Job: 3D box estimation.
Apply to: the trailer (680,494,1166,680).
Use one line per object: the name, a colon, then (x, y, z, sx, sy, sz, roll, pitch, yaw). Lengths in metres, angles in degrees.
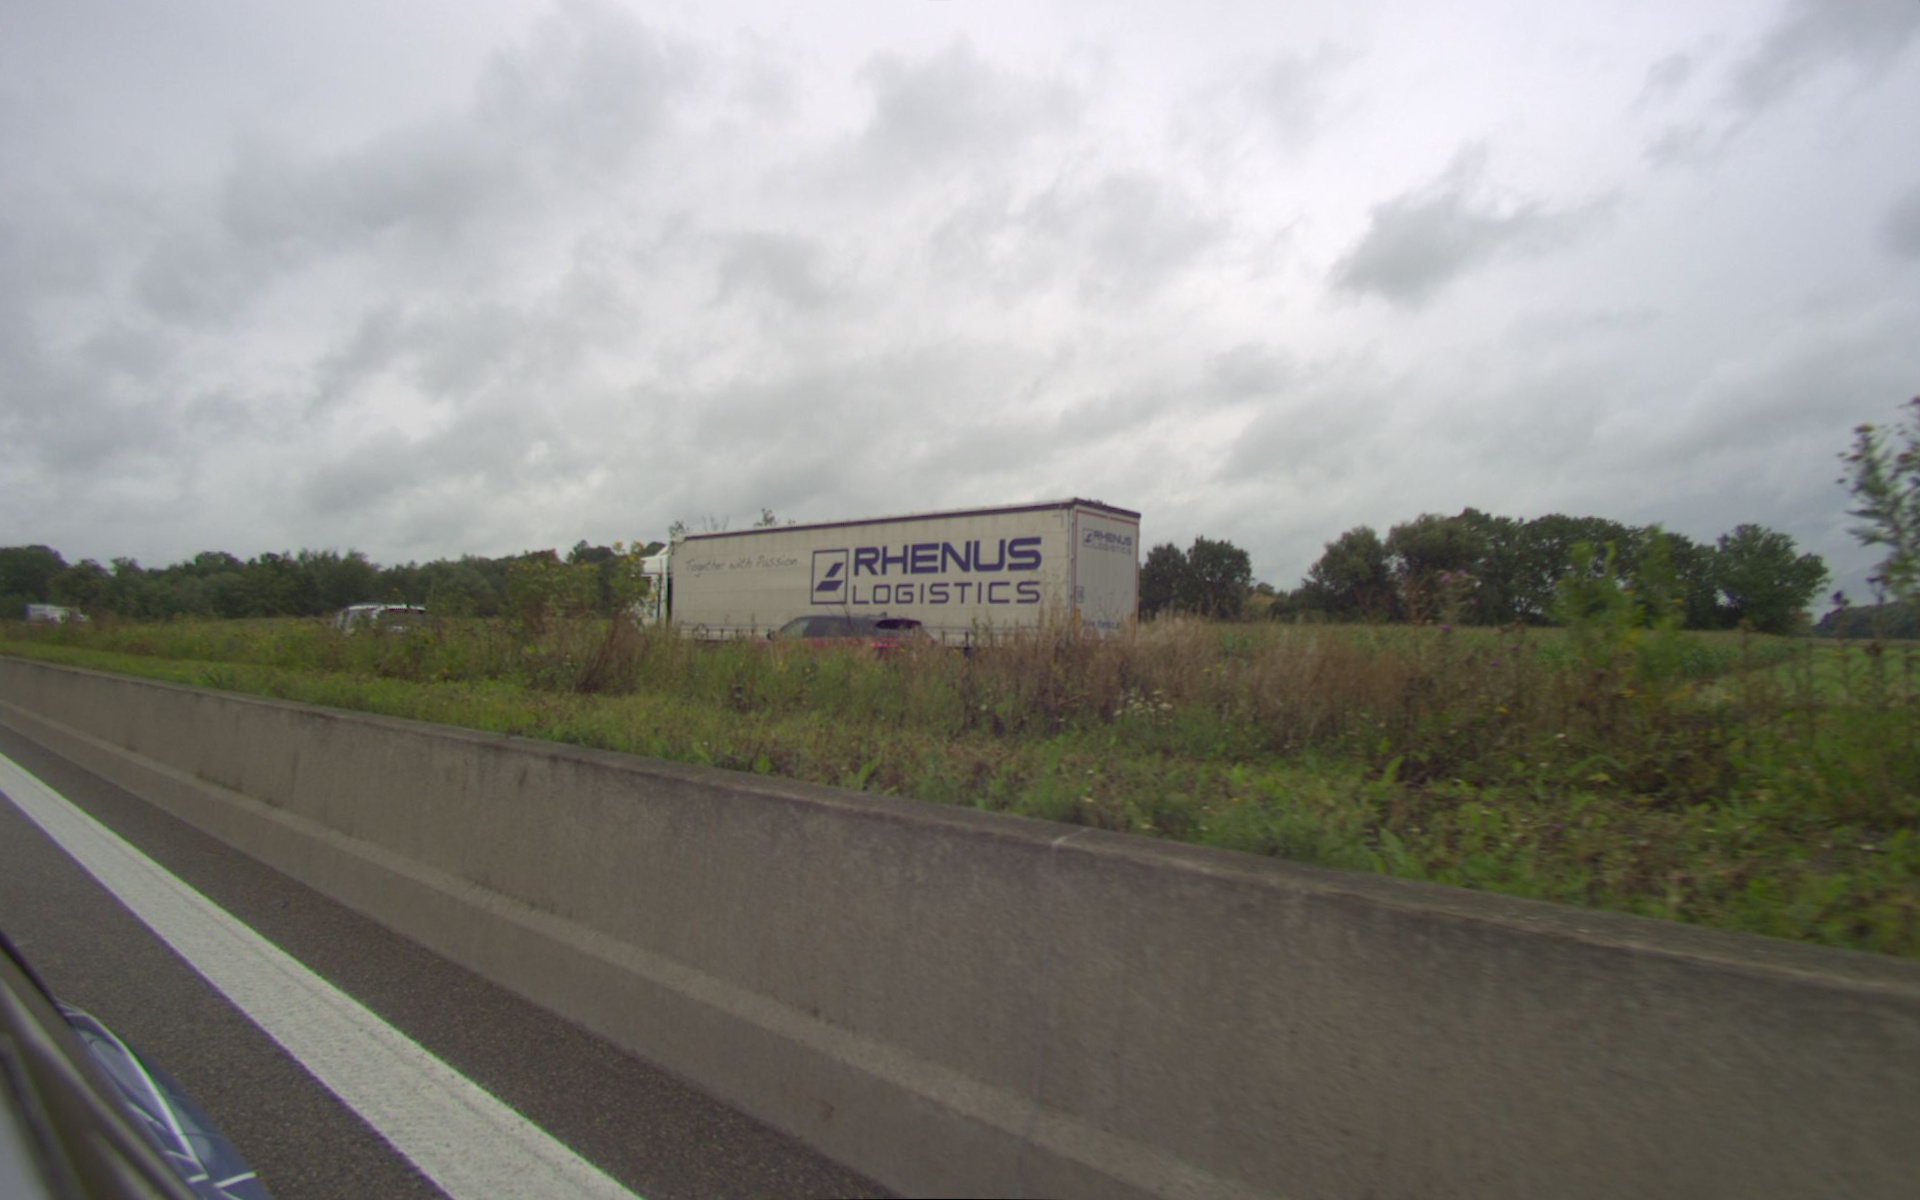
trailer: (-1.664, -0.186, 24.244, 13.235, 3.454, 2.884, -1, 0, 41)

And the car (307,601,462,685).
car: (-14.081, 1.025, 24.649, 4.798, 1.852, 1.800, -1, -3, 41)

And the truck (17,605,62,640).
truck: (-92.387, 2.223, 101.532, 4.517, 3.369, 2.728, -1, 0, 40)

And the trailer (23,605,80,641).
trailer: (-87.552, 2.184, 97.471, 9.919, 3.353, 2.759, -1, 0, 40)

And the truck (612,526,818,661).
truck: (-7.064, -0.141, 28.901, 5.624, 3.454, 2.939, -1, 0, 40)

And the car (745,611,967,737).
car: (-1.956, 1.256, 18.356, 3.998, 2.029, 1.773, -1, -3, 41)

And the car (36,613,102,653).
car: (-47.263, 1.720, 53.652, 5.066, 2.029, 1.973, -1, -1, 41)
